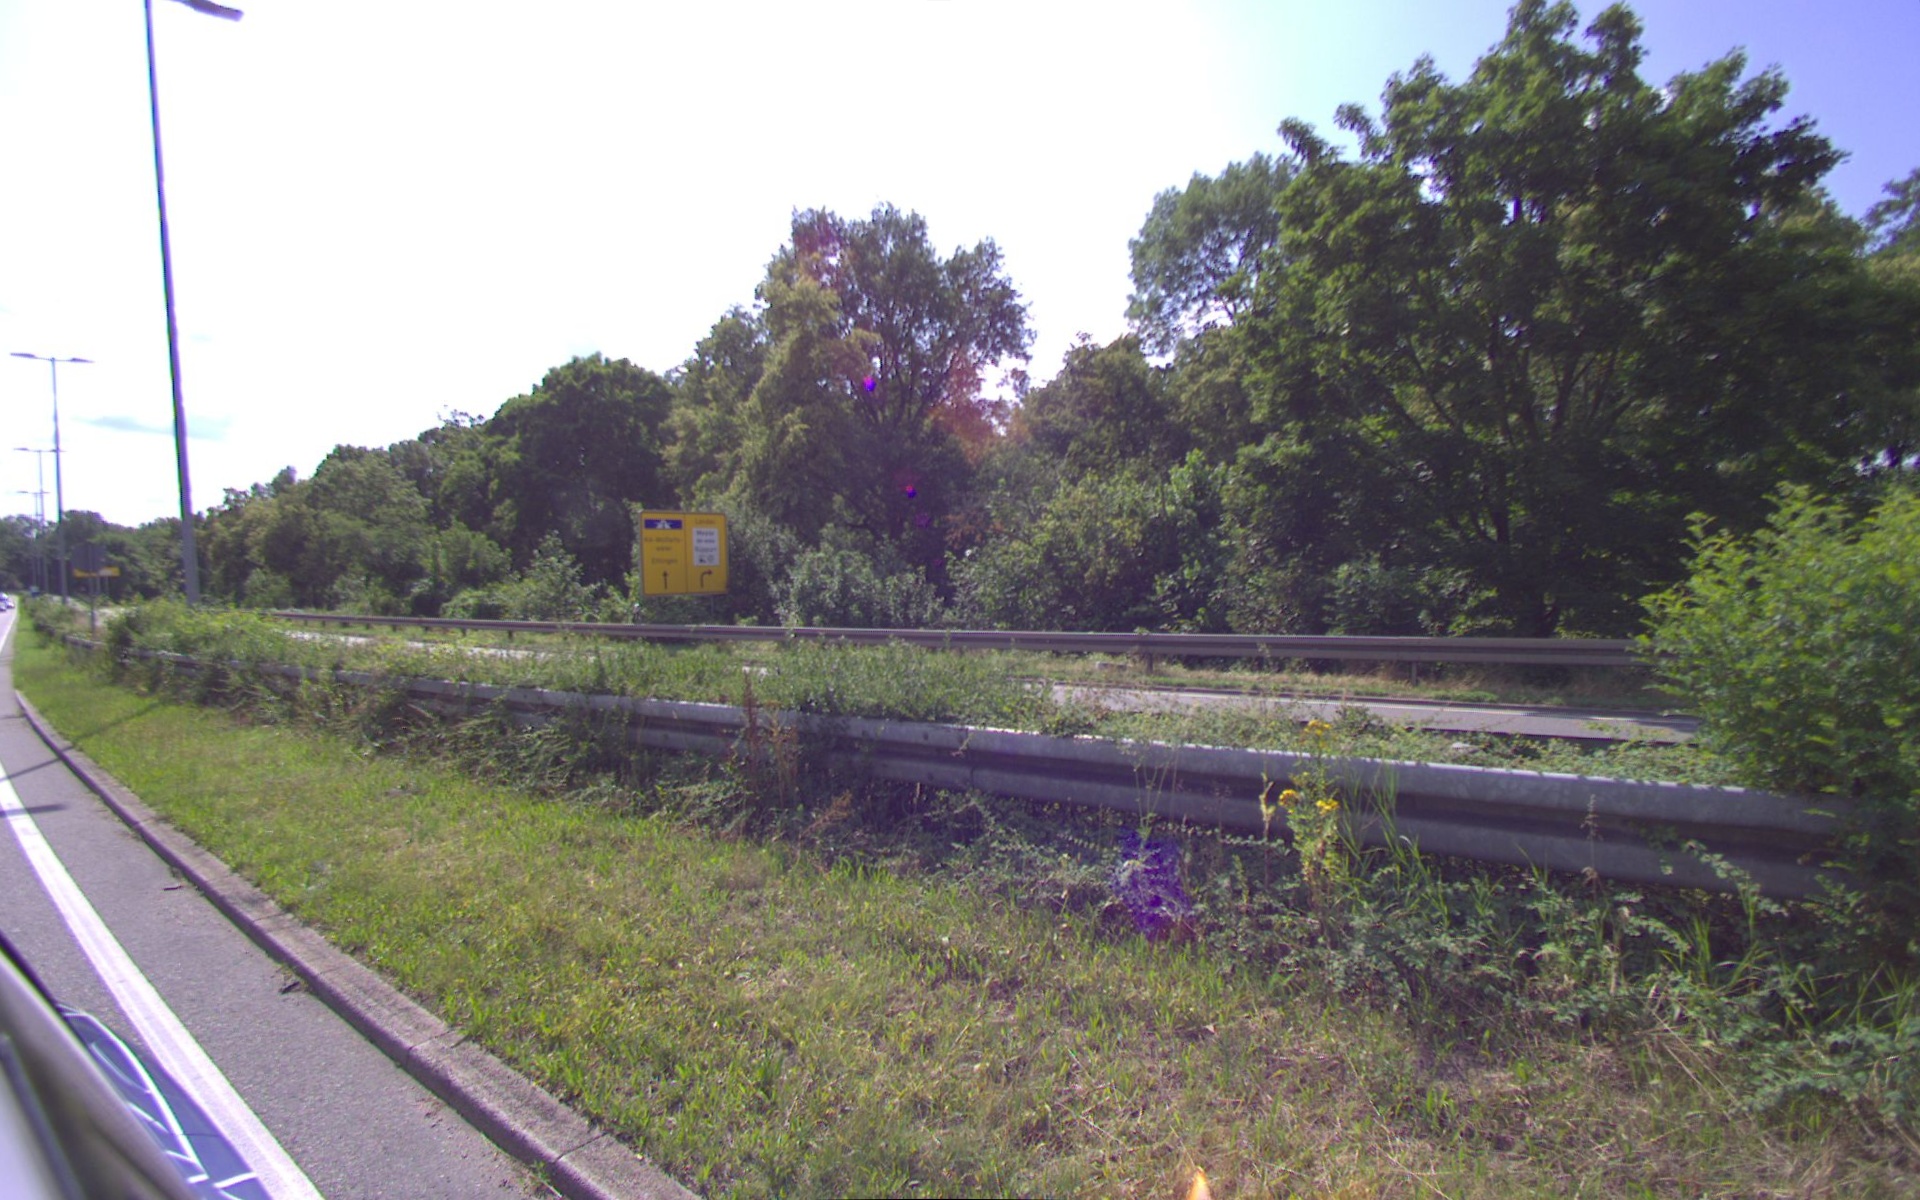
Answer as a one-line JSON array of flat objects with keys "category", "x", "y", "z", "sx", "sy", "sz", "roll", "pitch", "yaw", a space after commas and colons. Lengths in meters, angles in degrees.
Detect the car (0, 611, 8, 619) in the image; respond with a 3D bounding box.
[{"category": "car", "x": -160.306, "y": 2.502, "z": 169.093, "sx": 1.771, "sy": 1.386, "sz": 4.004, "roll": -2, "pitch": 0, "yaw": -42}]
